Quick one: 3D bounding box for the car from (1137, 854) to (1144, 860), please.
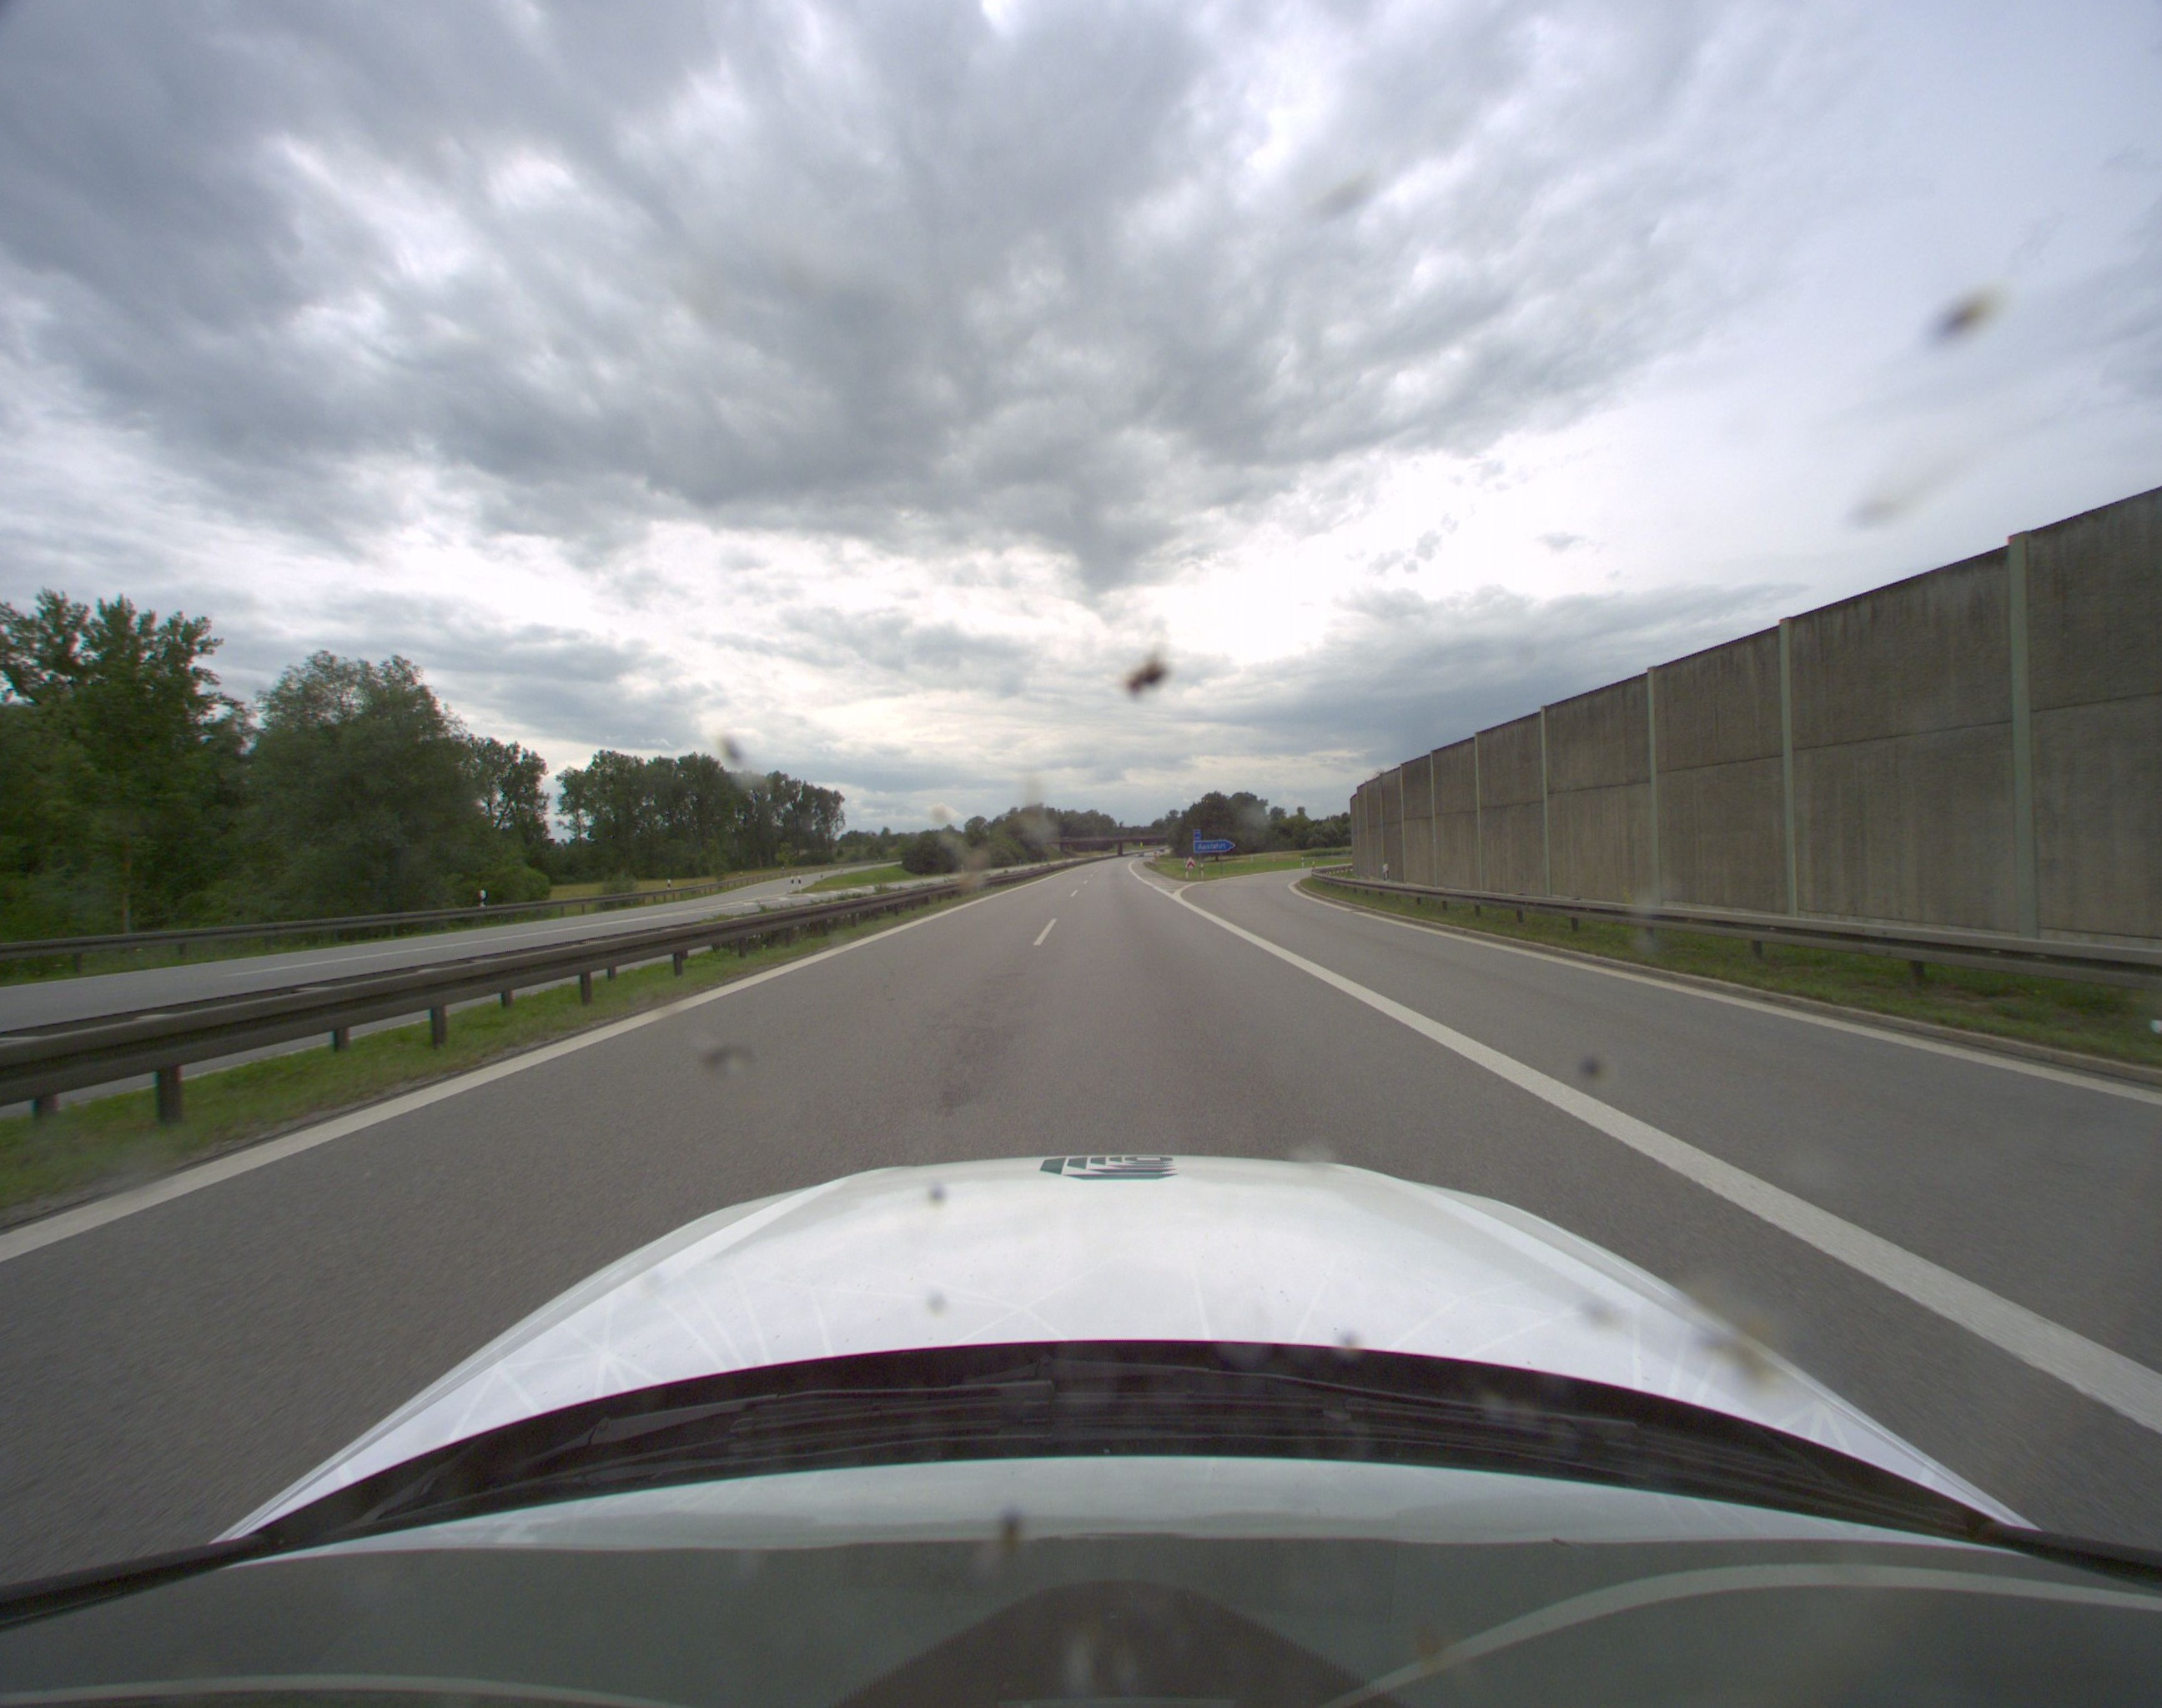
[{"bbox_3d":[19.006,1.017,260.460,1.834,1.717,4.012,-2,-1,11],"label":"car"}]
